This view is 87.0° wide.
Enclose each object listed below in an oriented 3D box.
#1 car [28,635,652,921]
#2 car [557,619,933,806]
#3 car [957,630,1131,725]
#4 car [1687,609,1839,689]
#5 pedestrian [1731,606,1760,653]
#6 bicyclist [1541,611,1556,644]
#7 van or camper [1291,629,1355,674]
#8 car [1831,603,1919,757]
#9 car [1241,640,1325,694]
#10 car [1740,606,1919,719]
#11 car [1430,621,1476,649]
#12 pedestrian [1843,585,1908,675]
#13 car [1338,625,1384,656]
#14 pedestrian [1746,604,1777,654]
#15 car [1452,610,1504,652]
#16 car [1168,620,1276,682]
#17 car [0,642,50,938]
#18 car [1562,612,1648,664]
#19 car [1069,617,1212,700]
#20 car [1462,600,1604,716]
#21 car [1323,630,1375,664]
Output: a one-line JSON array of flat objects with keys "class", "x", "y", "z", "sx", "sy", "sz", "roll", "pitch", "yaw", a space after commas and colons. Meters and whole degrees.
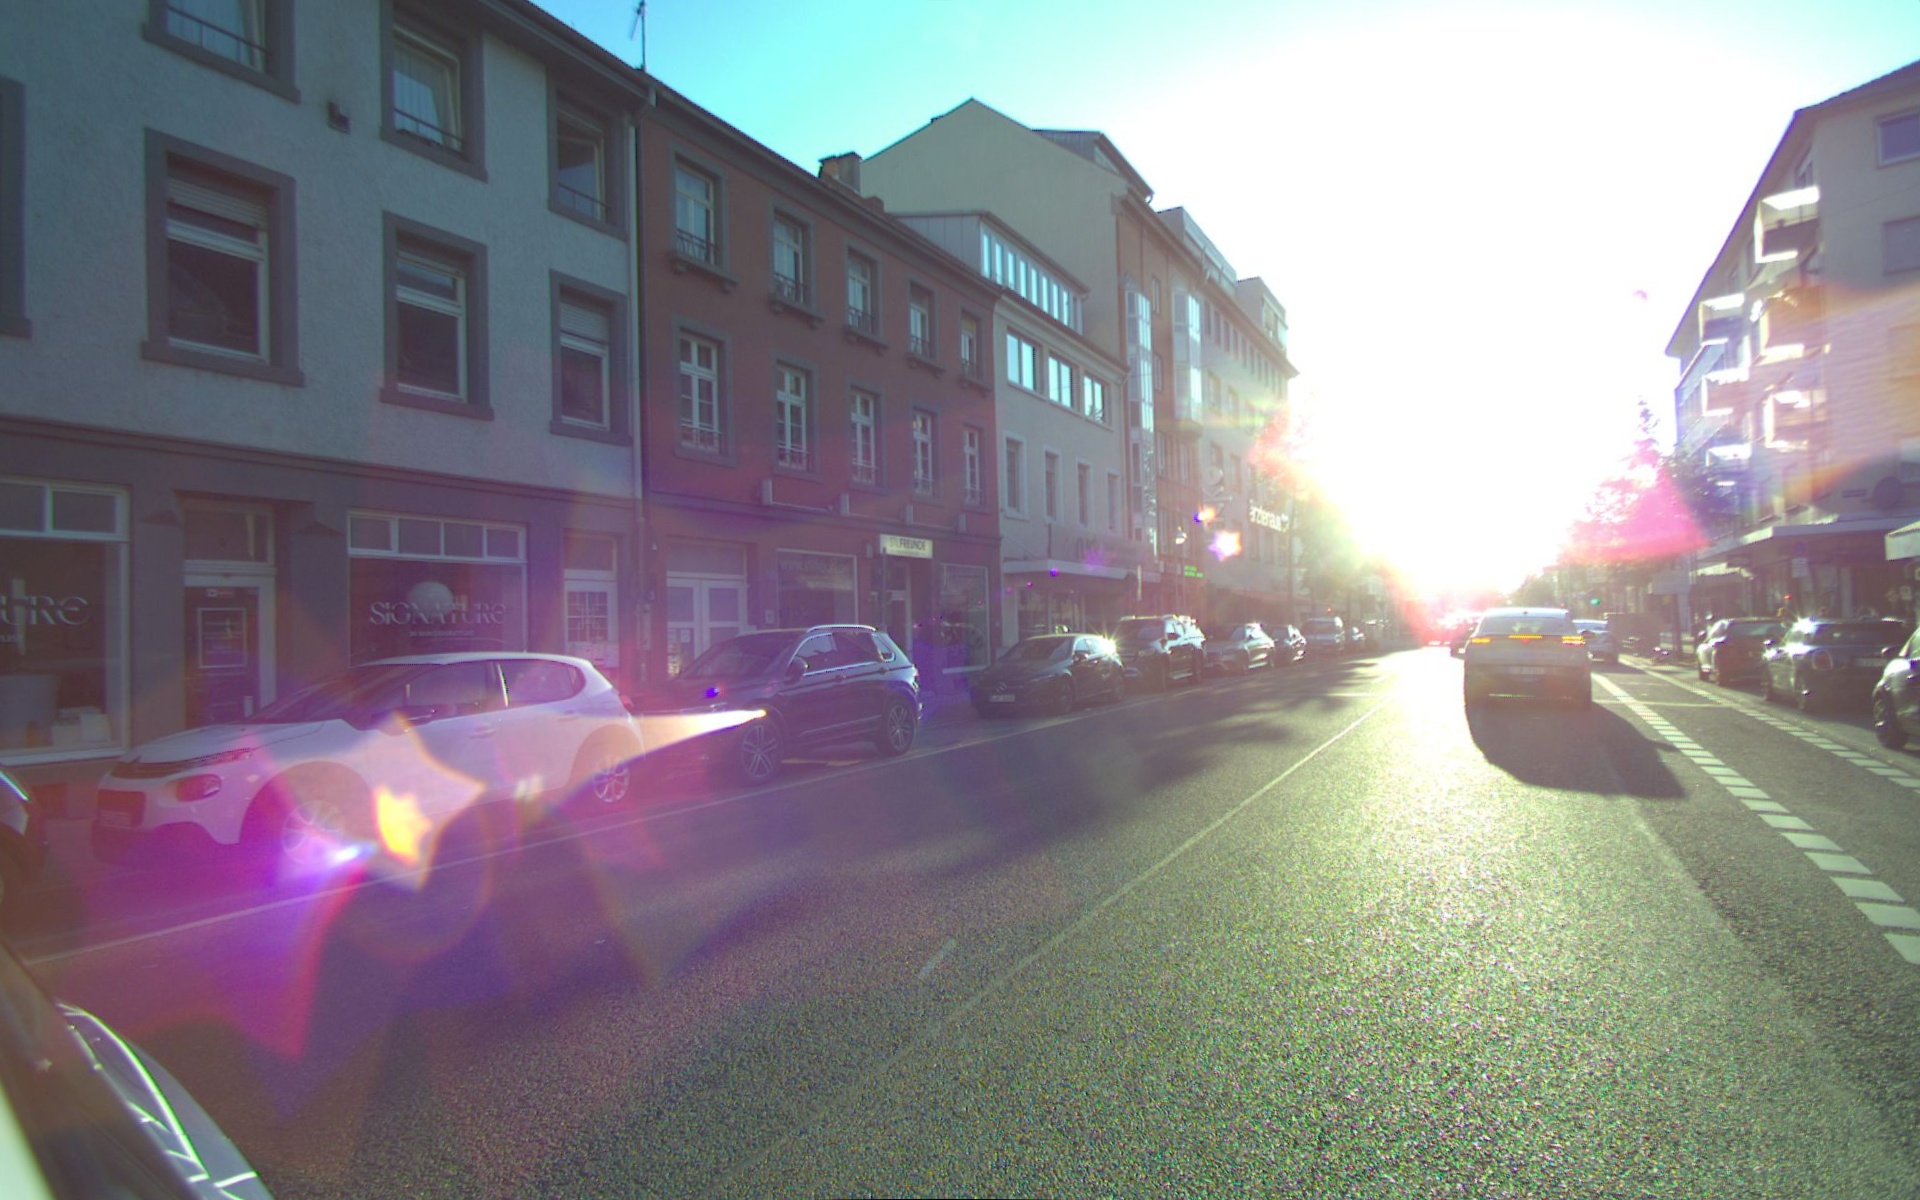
[{"class": "car", "x": -4.519, "y": 1.148, "z": 7.999, "sx": 1.660, "sy": 1.585, "sz": 3.895, "roll": -5, "pitch": -3, "yaw": 29}, {"class": "car", "x": -2.209, "y": 1.135, "z": 11.693, "sx": 1.792, "sy": 1.711, "sz": 4.417, "roll": -5, "pitch": -3, "yaw": 28}, {"class": "car", "x": 1.747, "y": 1.415, "z": 19.463, "sx": 1.682, "sy": 1.499, "sz": 4.368, "roll": -6, "pitch": -3, "yaw": 28}, {"class": "car", "x": 17.349, "y": 1.024, "z": 22.064, "sx": 1.786, "sy": 1.592, "sz": 3.752, "roll": -2, "pitch": -2, "yaw": 27}, {"class": "pedestrian", "x": 30.423, "y": 1.142, "z": 39.197, "sx": 0.717, "sy": 1.805, "sz": 0.660, "roll": -3, "pitch": -3, "yaw": 30}, {"class": "bicyclist", "x": 28.958, "y": 1.354, "z": 49.790, "sx": 0.547, "sy": 1.593, "sz": 0.794, "roll": -3, "pitch": -3, "yaw": 32}, {"class": "van or camper", "x": 15.753, "y": 2.206, "z": 43.811, "sx": 1.787, "sy": 1.787, "sz": 4.510, "roll": -2, "pitch": -2, "yaw": 30}, {"class": "car", "x": 11.040, "y": 0.810, "z": 10.713, "sx": 1.786, "sy": 1.592, "sz": 3.931, "roll": -2, "pitch": -2, "yaw": 27}, {"class": "car", "x": 11.401, "y": 2.318, "z": 35.518, "sx": 1.991, "sy": 1.668, "sz": 4.437, "roll": -2, "pitch": -2, "yaw": 28}, {"class": "car", "x": 14.074, "y": 0.921, "z": 16.166, "sx": 1.786, "sy": 1.592, "sz": 3.752, "roll": -2, "pitch": -2, "yaw": 27}, {"class": "car", "x": 30.116, "y": 2.115, "z": 61.948, "sx": 1.828, "sy": 1.661, "sz": 4.276, "roll": 0, "pitch": -1, "yaw": 17}, {"class": "pedestrian", "x": 18.238, "y": 0.605, "z": 20.174, "sx": 0.717, "sy": 1.747, "sz": 0.731, "roll": -3, "pitch": -3, "yaw": 29}, {"class": "car", "x": 21.161, "y": 2.103, "z": 53.323, "sx": 1.689, "sy": 1.514, "sz": 3.748, "roll": -2, "pitch": -2, "yaw": 30}, {"class": "pedestrian", "x": 29.523, "y": 1.074, "z": 37.289, "sx": 0.717, "sy": 1.805, "sz": 0.660, "roll": -3, "pitch": -3, "yaw": 30}, {"class": "car", "x": 21.720, "y": 1.266, "z": 42.459, "sx": 1.835, "sy": 1.661, "sz": 4.260, "roll": 0, "pitch": -1, "yaw": 27}, {"class": "car", "x": 7.951, "y": 1.487, "z": 30.415, "sx": 1.992, "sy": 1.668, "sz": 4.581, "roll": -4, "pitch": -3, "yaw": 29}, {"class": "car", "x": -6.569, "y": 1.046, "z": 4.567, "sx": 1.525, "sy": 1.582, "sz": 3.386, "roll": -4, "pitch": -3, "yaw": 30}, {"class": "car", "x": 21.280, "y": 1.226, "z": 33.530, "sx": 1.991, "sy": 1.617, "sz": 4.363, "roll": -1, "pitch": -2, "yaw": 28}, {"class": "car", "x": 4.587, "y": 1.360, "z": 24.955, "sx": 1.990, "sy": 1.791, "sz": 5.270, "roll": -4, "pitch": -3, "yaw": 27}, {"class": "car", "x": 9.815, "y": 0.891, "z": 17.308, "sx": 1.872, "sy": 1.710, "sz": 4.275, "roll": -1, "pitch": -1, "yaw": 31}, {"class": "car", "x": 18.632, "y": 2.240, "z": 48.423, "sx": 1.689, "sy": 1.514, "sz": 3.748, "roll": -2, "pitch": -2, "yaw": 30}]
